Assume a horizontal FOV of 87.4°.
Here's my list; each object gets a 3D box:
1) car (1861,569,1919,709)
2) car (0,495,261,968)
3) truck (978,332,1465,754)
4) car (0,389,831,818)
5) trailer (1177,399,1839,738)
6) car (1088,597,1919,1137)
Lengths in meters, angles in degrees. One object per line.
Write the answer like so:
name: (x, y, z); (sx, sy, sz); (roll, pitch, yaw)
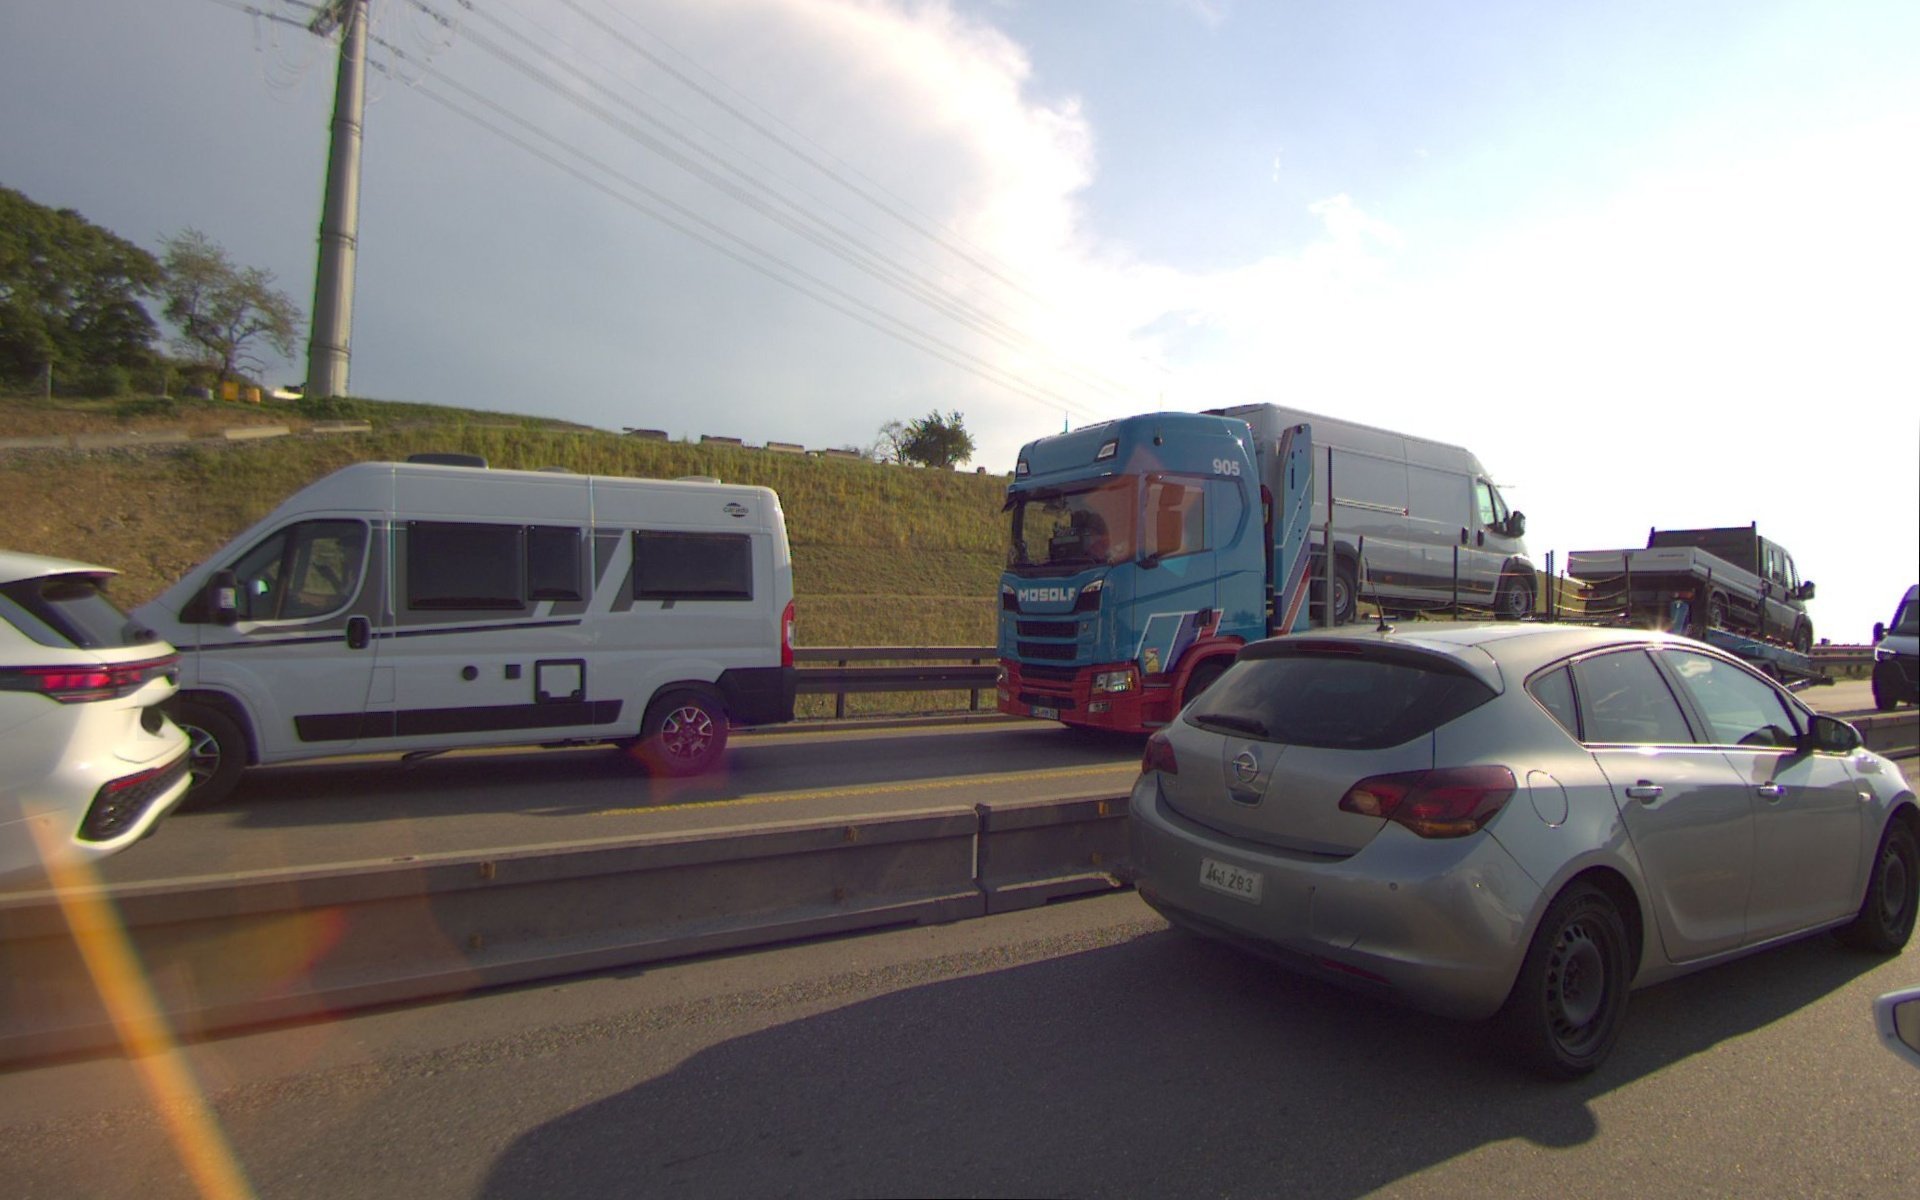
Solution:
car: (19.853, 0.769, 19.523); (6.003, 2.515, 2.092); (2, -1, -34)
car: (-5.366, 0.442, 3.585); (4.543, 1.717, 1.861); (2, -1, -31)
truck: (3.354, -0.484, 12.408); (5.818, 4.119, 2.490); (1, -1, -32)
car: (-4.070, 0.088, 8.417); (5.526, 2.591, 2.146); (2, -1, -32)
trailer: (10.152, -0.180, 16.841); (15.221, 3.924, 2.680); (2, -1, -32)
car: (2.843, 0.791, 4.634); (4.302, 1.492, 1.747); (2, -1, -30)
